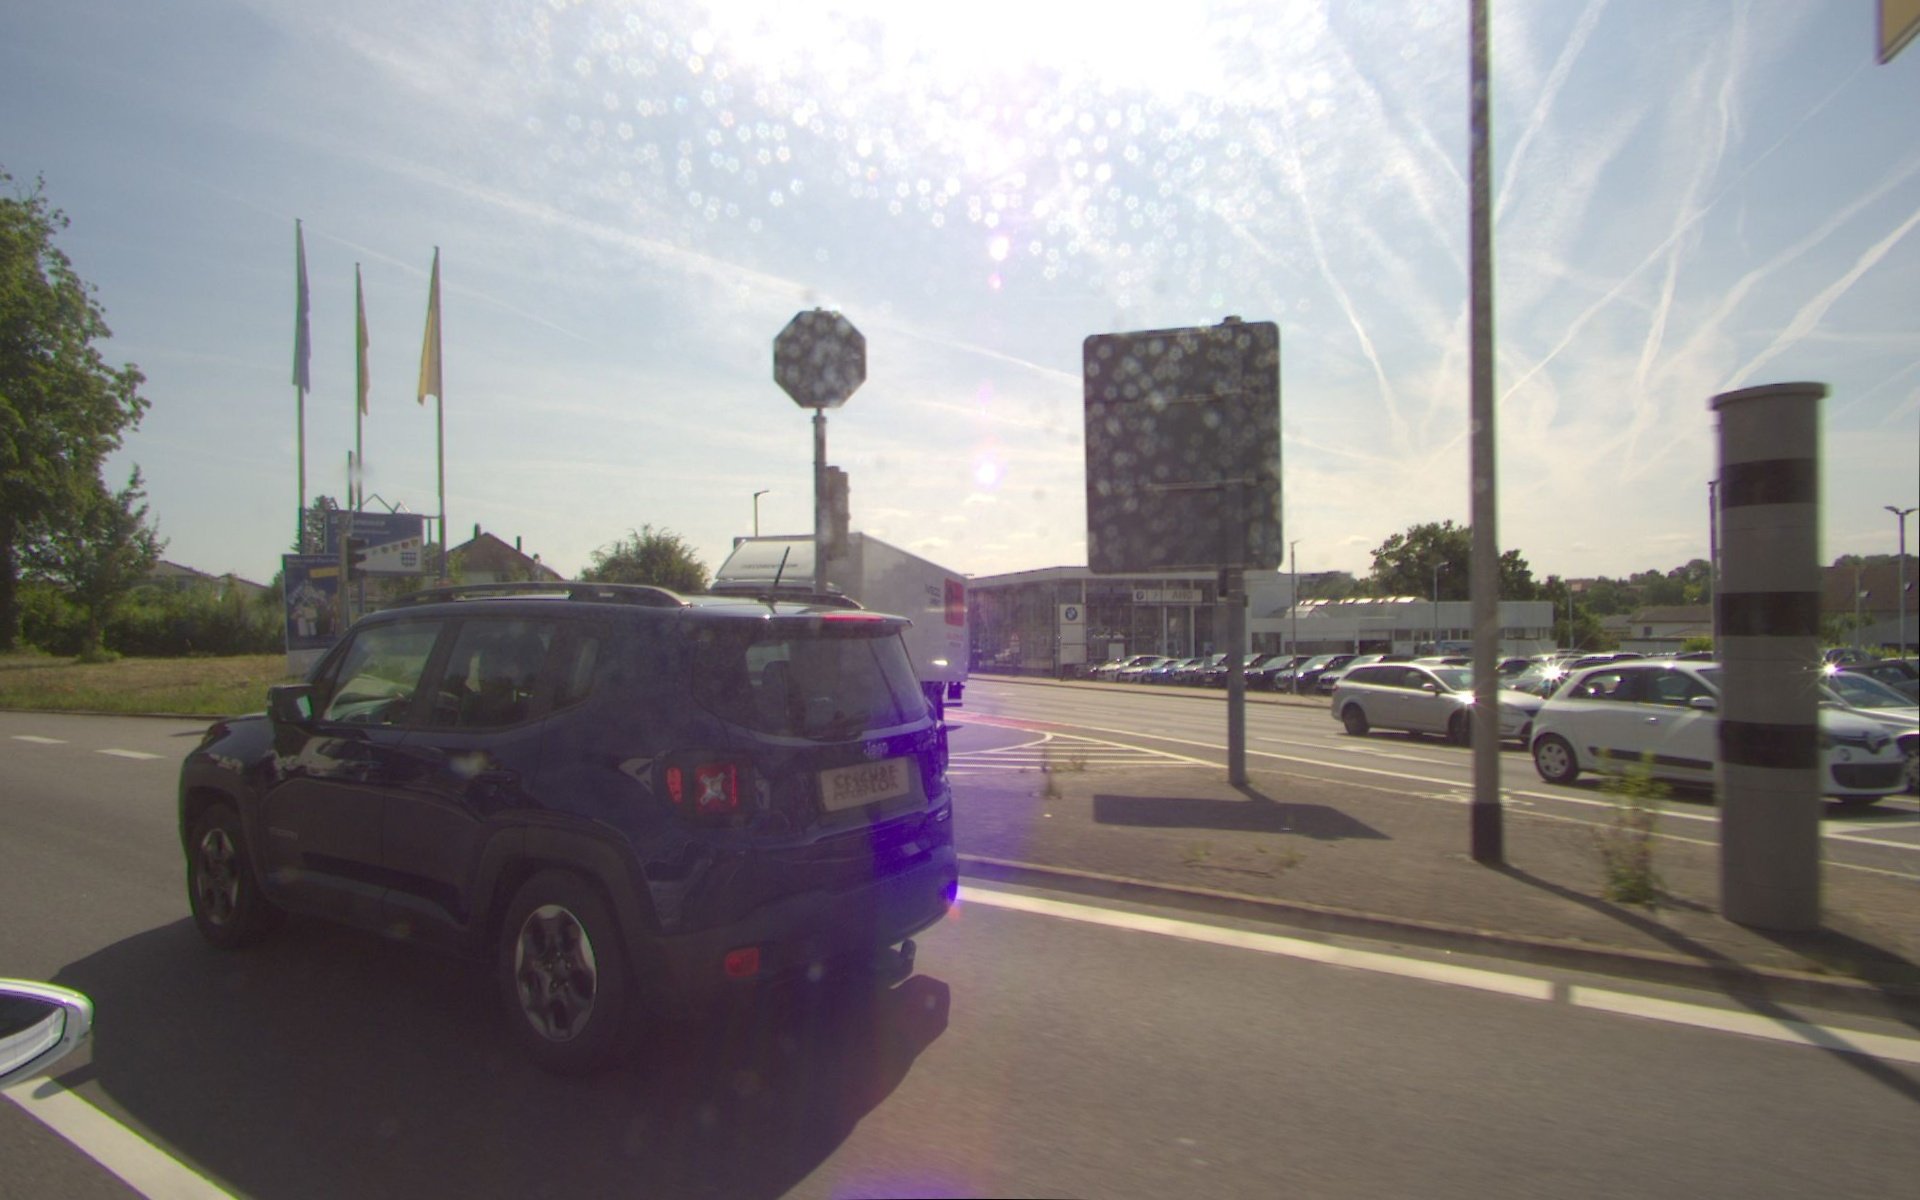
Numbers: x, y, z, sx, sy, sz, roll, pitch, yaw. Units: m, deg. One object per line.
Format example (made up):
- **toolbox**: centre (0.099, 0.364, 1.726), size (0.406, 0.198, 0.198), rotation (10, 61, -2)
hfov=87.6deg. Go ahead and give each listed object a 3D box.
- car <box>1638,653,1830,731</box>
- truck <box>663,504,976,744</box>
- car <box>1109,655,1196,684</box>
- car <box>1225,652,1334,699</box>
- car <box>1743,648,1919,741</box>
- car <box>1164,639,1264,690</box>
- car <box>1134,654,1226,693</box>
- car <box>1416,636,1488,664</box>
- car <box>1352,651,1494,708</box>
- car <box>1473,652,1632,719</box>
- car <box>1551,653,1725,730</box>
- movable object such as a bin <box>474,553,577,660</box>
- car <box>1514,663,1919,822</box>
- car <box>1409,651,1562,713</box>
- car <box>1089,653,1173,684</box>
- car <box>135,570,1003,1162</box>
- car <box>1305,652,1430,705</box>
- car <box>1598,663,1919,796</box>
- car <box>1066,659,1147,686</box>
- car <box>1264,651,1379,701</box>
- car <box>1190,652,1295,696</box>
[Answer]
- **car**: centre (19.018, 2.201, 24.643), size (3.932, 1.595, 1.995), rotation (-1, 0, -21)
- **truck**: centre (-2.168, 0.804, 20.372), size (2.716, 3.670, 9.706), rotation (0, -5, 15)
- **car**: centre (9.734, 3.478, 50.652), size (3.935, 1.205, 1.993), rotation (-1, 0, -23)
- **car**: centre (13.144, 3.077, 41.211), size (3.936, 1.639, 2.084), rotation (-1, 0, -25)
- **car**: centre (19.849, 2.041, 22.370), size (3.932, 1.746, 1.995), rotation (-1, 0, -21)
- **car**: centre (11.601, 2.887, 45.770), size (4.016, 2.062, 2.061), rotation (-1, 0, -25)
- **car**: centre (10.625, 3.528, 48.396), size (3.937, 1.572, 1.992), rotation (-1, 0, -26)
- **car**: centre (32.802, 3.299, 66.752), size (4.117, 1.639, 2.004), rotation (-1, 0, -19)
- **car**: centre (15.845, 2.674, 34.270), size (4.403, 1.639, 2.084), rotation (-1, 0, -25)
- **car**: centre (17.326, 2.452, 29.328), size (3.932, 1.639, 1.995), rotation (-1, 0, -21)
- **car**: centre (18.218, 2.402, 26.940), size (3.932, 1.751, 1.995), rotation (-1, 0, -21)
- **movable object such as a bin**: centre (-14.549, 0.209, 33.946), size (2.852, 3.250, 6.685), rotation (-1, 0, -21)
- **car**: centre (8.730, 1.506, 11.744), size (1.681, 1.522, 3.751), rotation (1, -3, -18)
- **car**: centre (16.773, 2.563, 31.946), size (4.406, 1.639, 1.994), rotation (-1, 0, -23)
- **car**: centre (9.031, 3.577, 52.907), size (3.933, 1.390, 1.994), rotation (-1, 0, -21)
- **car**: centre (-1.945, 0.776, 4.646), size (3.943, 1.676, 1.766), rotation (-1, 0, 33)
- **car**: centre (14.847, 2.816, 36.534), size (3.970, 1.639, 2.084), rotation (-1, 0, -25)
- **car**: centre (11.530, 1.611, 13.354), size (1.965, 1.523, 4.994), rotation (1, -3, -18)
- **car**: centre (8.071, 3.974, 55.140), size (3.935, 1.194, 1.993), rotation (-1, 0, -24)
- **car**: centre (14.014, 2.899, 38.835), size (3.864, 1.639, 2.084), rotation (-1, 0, -25)
- **car**: centre (12.276, 3.179, 43.549), size (4.017, 1.639, 2.096), rotation (-1, 0, -25)
